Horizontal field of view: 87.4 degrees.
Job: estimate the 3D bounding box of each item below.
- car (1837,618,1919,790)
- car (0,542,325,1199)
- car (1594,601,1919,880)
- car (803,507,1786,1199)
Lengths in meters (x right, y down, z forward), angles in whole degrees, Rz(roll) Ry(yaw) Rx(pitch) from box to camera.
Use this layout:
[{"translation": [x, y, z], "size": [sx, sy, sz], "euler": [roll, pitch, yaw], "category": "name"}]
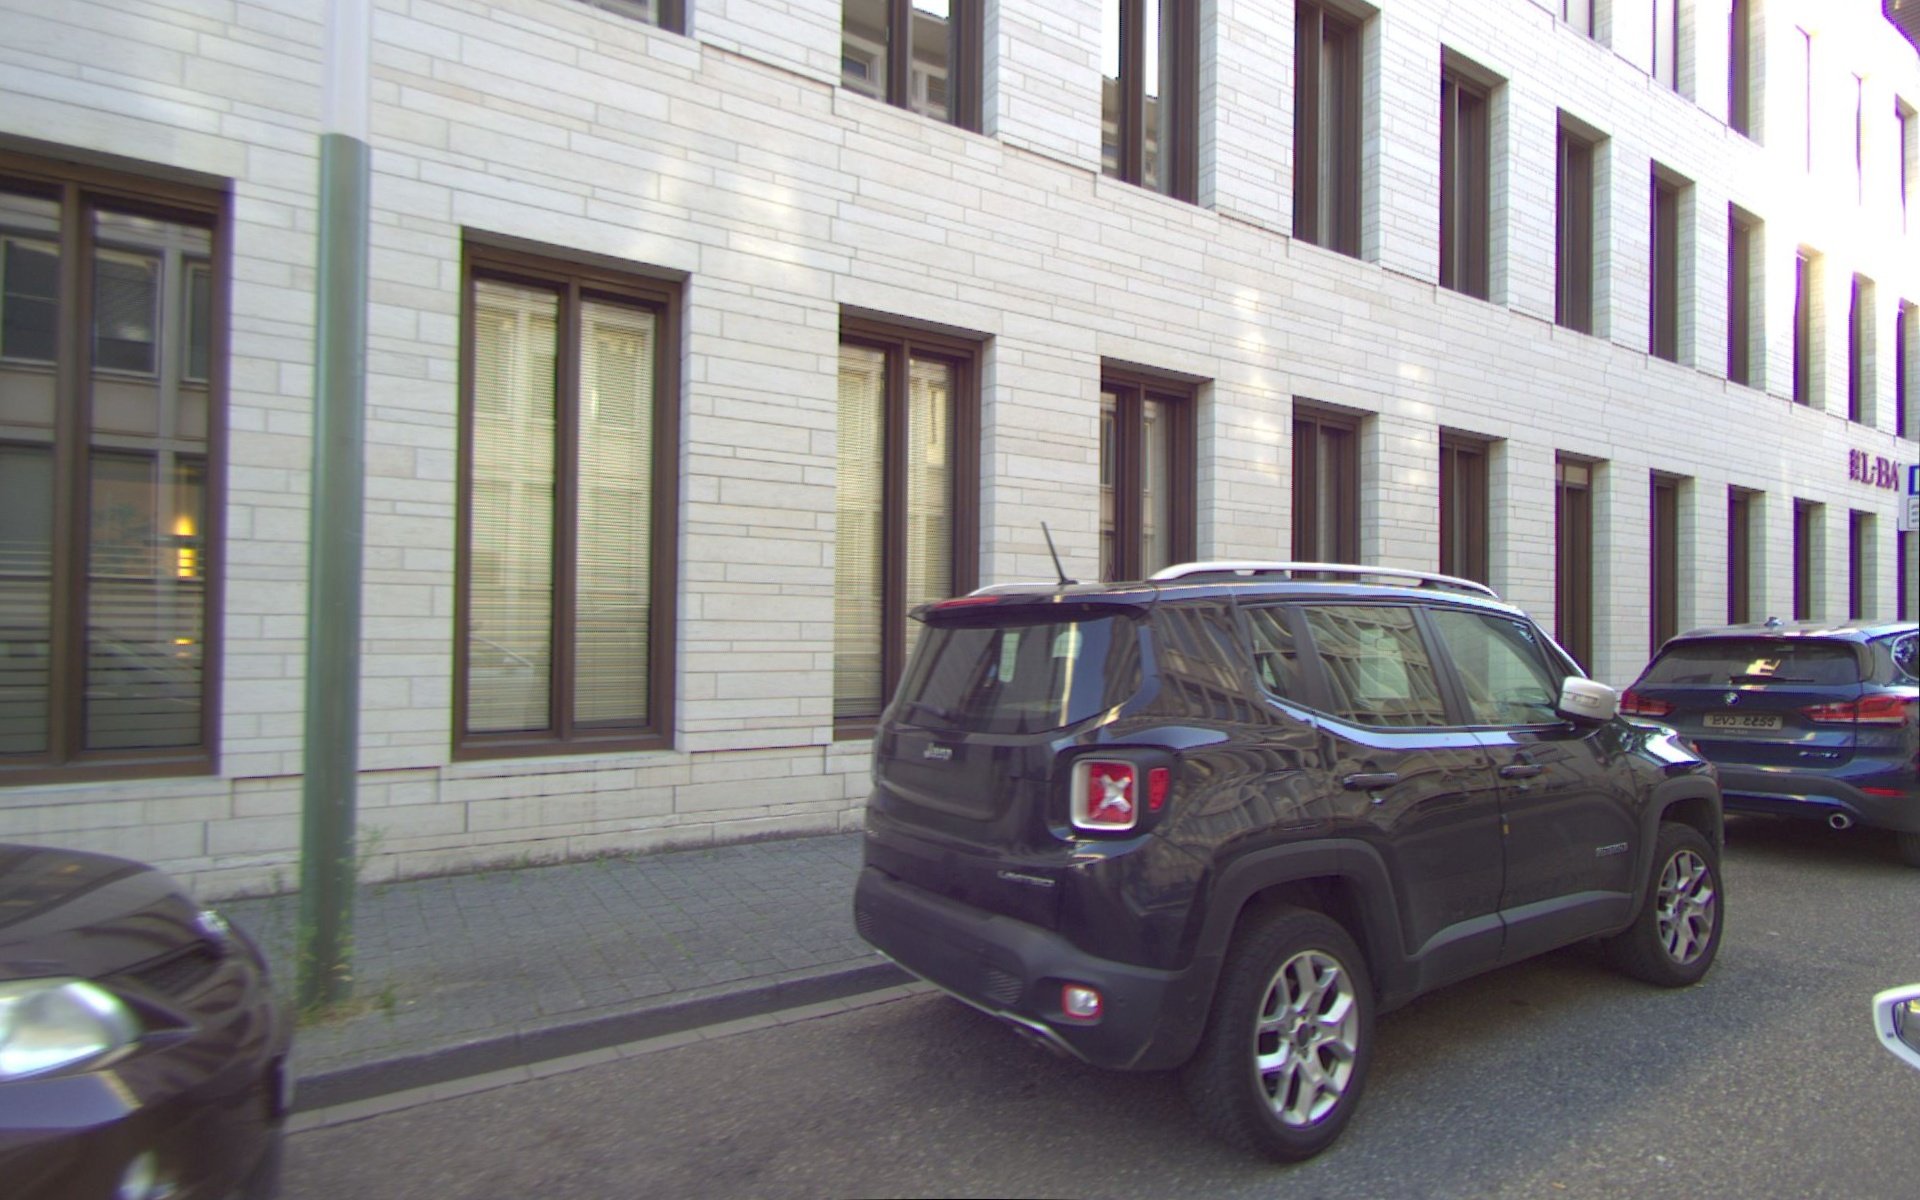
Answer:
[{"translation": [11.416, 1.047, 10.791], "size": [4.216, 1.699, 1.813], "euler": [1, -3, -32], "category": "car"}, {"translation": [-3.328, 0.679, 1.292], "size": [4.218, 1.562, 1.812], "euler": [1, -1, -33], "category": "car"}, {"translation": [6.820, 0.894, 7.699], "size": [4.109, 1.615, 1.730], "euler": [1, -3, -33], "category": "car"}, {"translation": [1.540, 0.729, 4.209], "size": [3.974, 1.737, 1.812], "euler": [1, -3, -33], "category": "car"}]
